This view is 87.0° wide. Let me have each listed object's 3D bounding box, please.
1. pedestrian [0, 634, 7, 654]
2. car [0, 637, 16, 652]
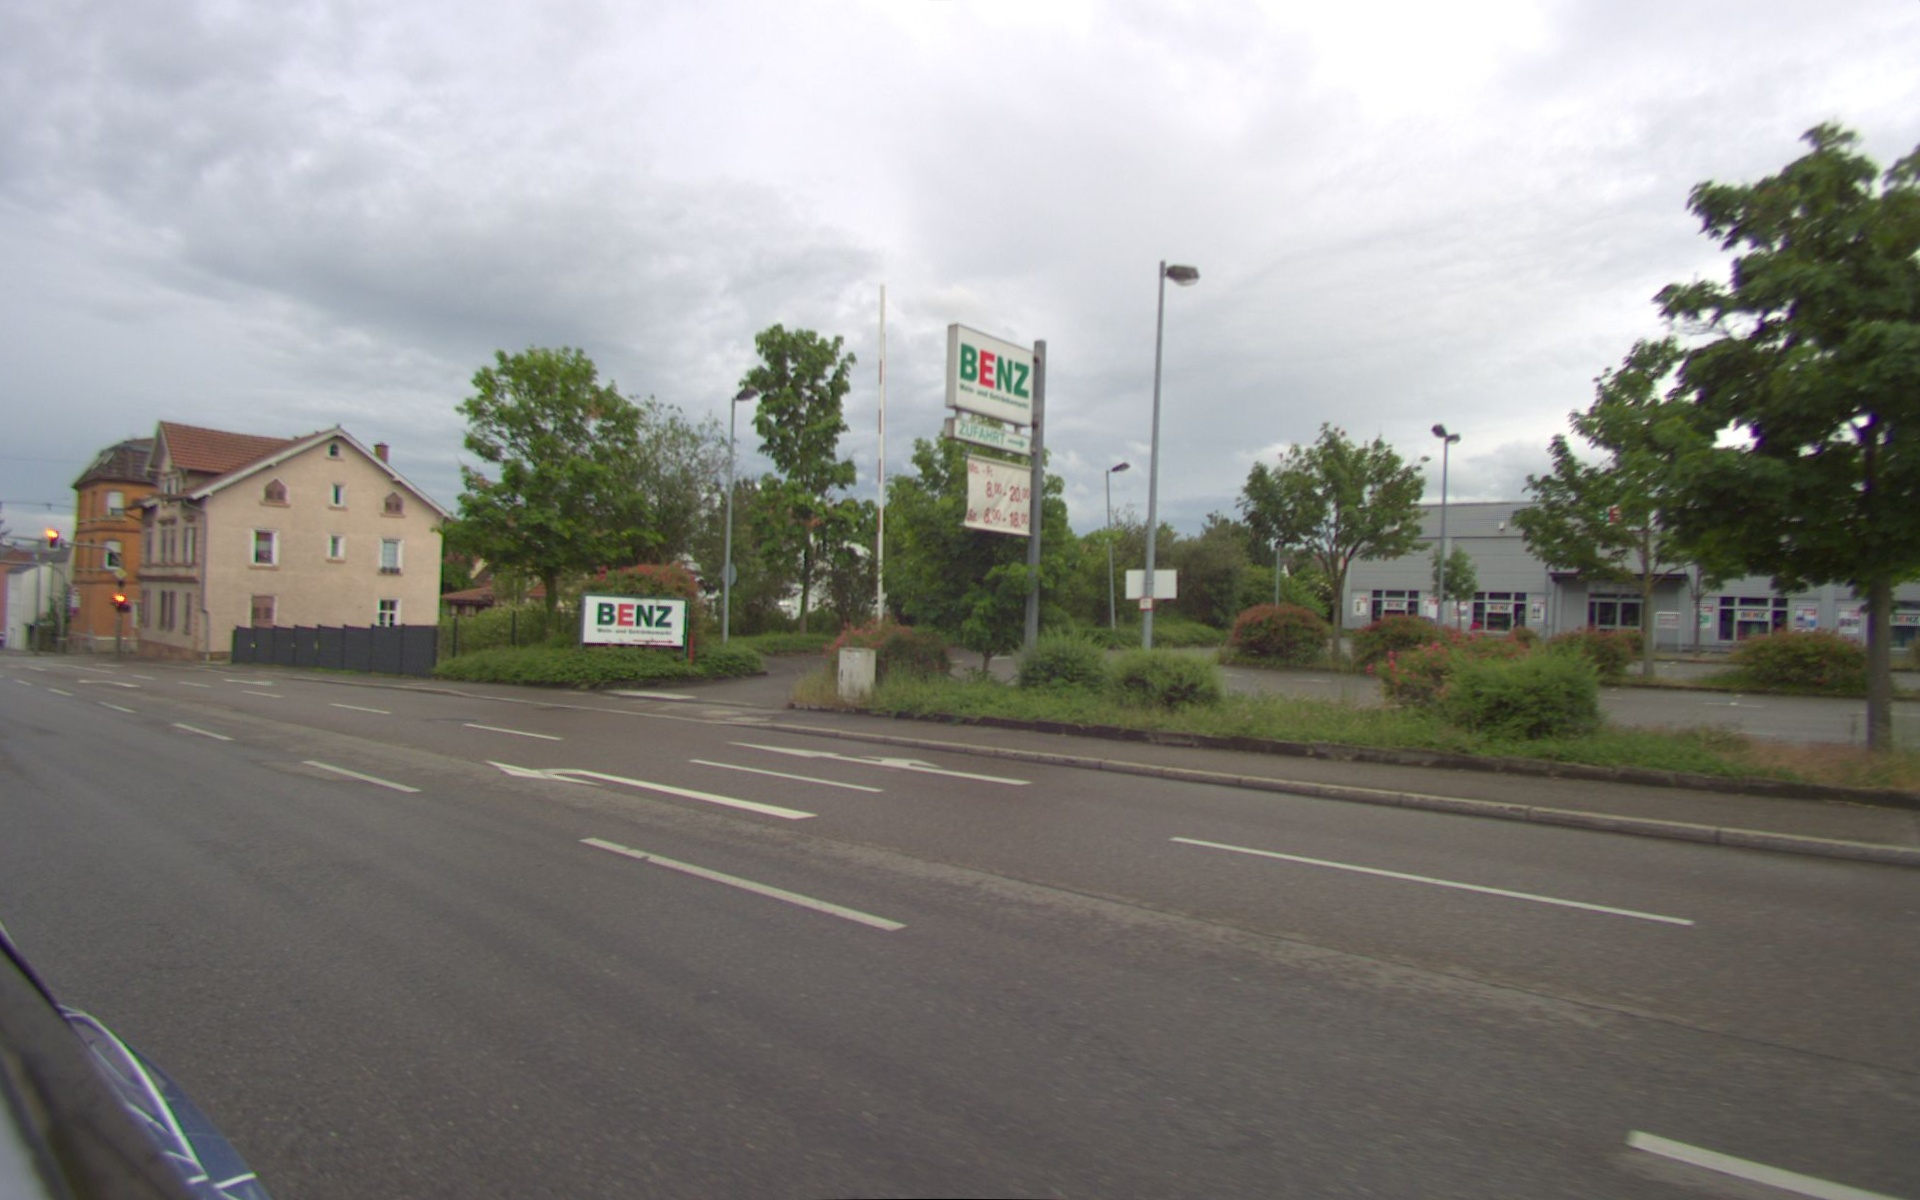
[{"bbox_3d":[-83.546,3.830,88.201,0.911,1.719,0.633,-2,-2,42],"label":"pedestrian"},{"bbox_3d":[-111.453,5.160,116.126,2.153,1.620,4.482,-2,-1,43],"label":"car"}]
